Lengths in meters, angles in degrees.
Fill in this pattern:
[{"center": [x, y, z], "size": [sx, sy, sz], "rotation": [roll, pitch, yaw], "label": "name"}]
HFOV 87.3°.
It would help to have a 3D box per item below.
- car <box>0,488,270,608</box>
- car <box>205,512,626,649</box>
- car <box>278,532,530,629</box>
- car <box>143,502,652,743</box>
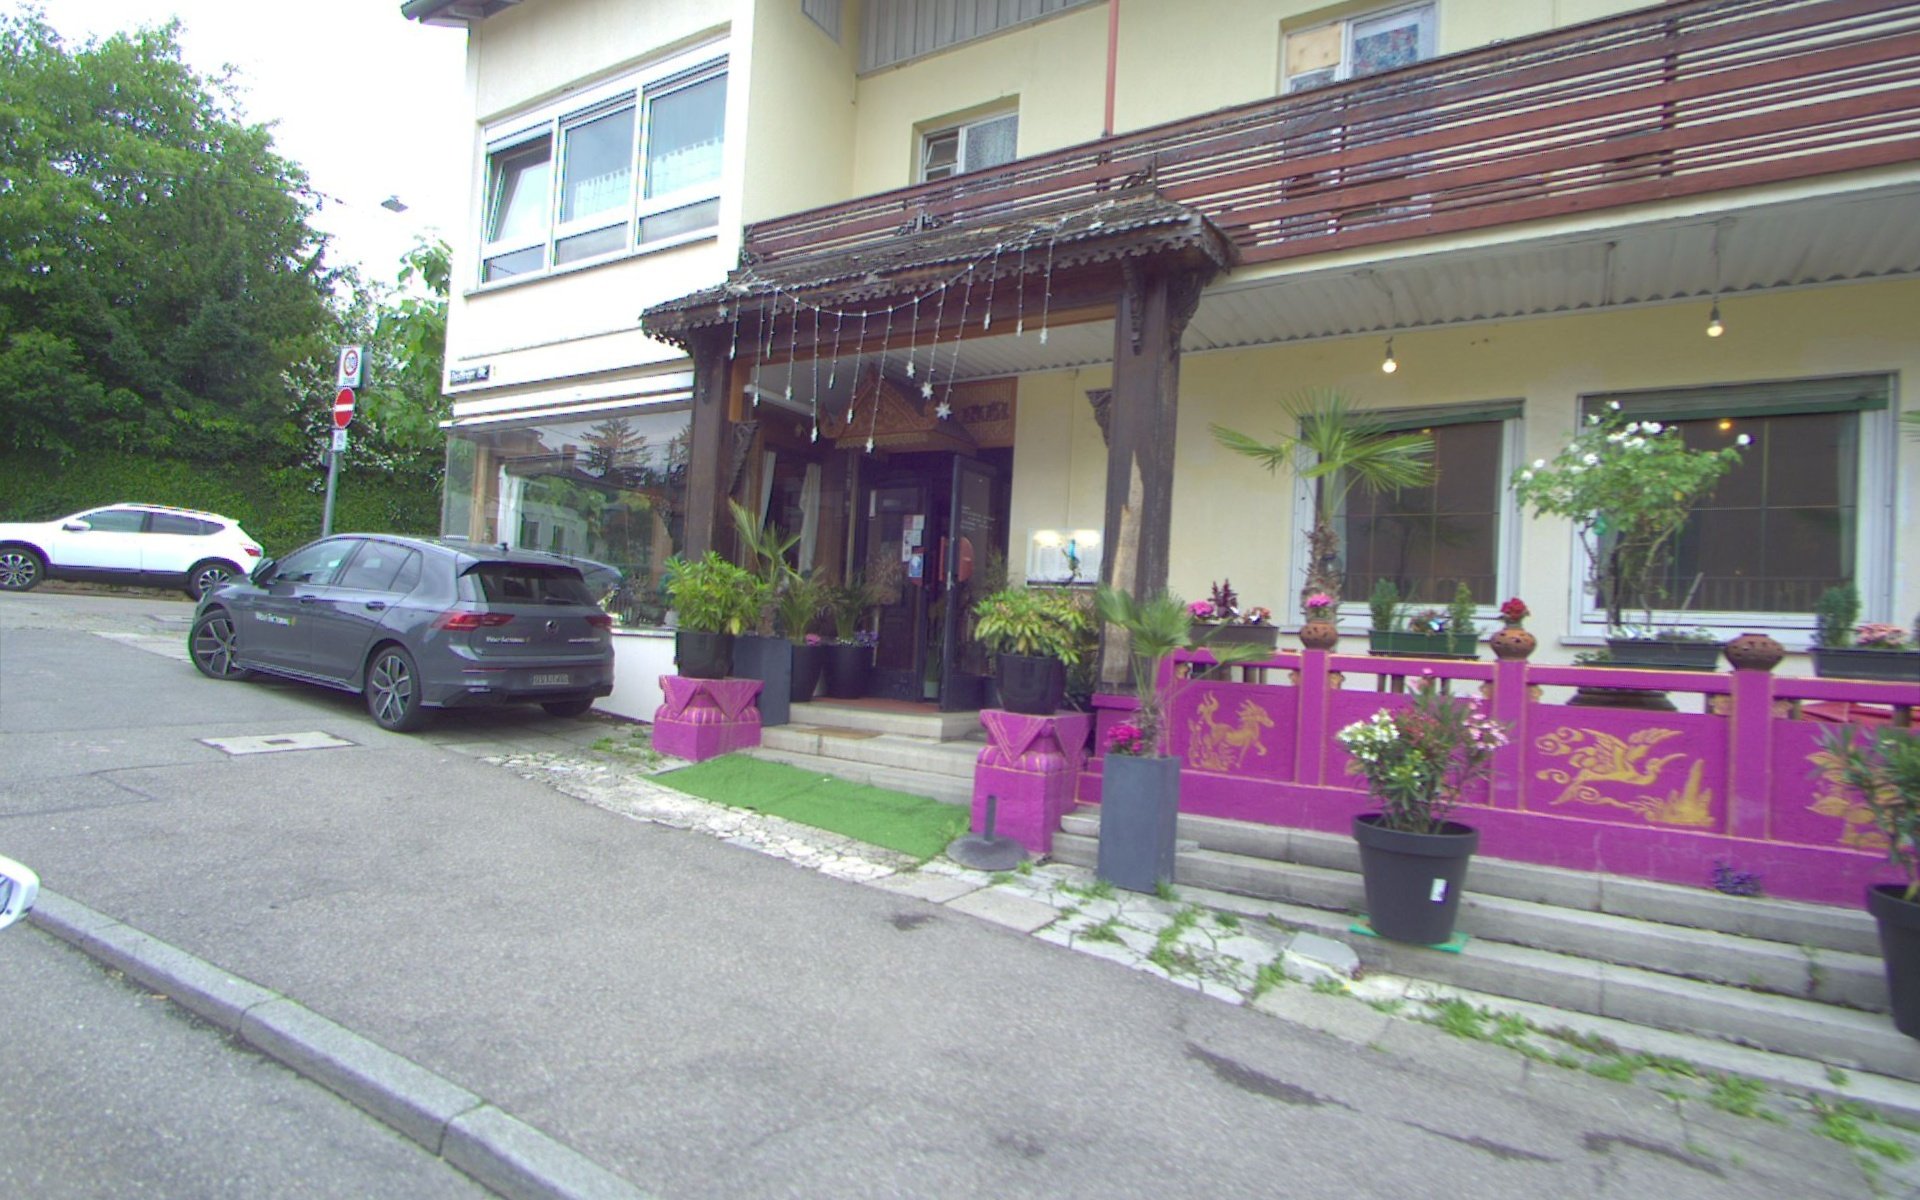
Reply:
[{"center": [-14.718, -0.848, 17.430], "size": [4.226, 1.612, 1.965], "rotation": [6, -3, -44], "label": "car"}, {"center": [-6.945, -0.177, 13.295], "size": [1.810, 1.343, 4.493], "rotation": [5, -1, 38], "label": "car"}, {"center": [-11.425, -0.361, 20.877], "size": [1.972, 1.484, 4.056], "rotation": [5, -2, 40], "label": "car"}, {"center": [-5.030, 0.088, 8.885], "size": [4.310, 1.492, 1.850], "rotation": [6, 2, 28], "label": "car"}]
